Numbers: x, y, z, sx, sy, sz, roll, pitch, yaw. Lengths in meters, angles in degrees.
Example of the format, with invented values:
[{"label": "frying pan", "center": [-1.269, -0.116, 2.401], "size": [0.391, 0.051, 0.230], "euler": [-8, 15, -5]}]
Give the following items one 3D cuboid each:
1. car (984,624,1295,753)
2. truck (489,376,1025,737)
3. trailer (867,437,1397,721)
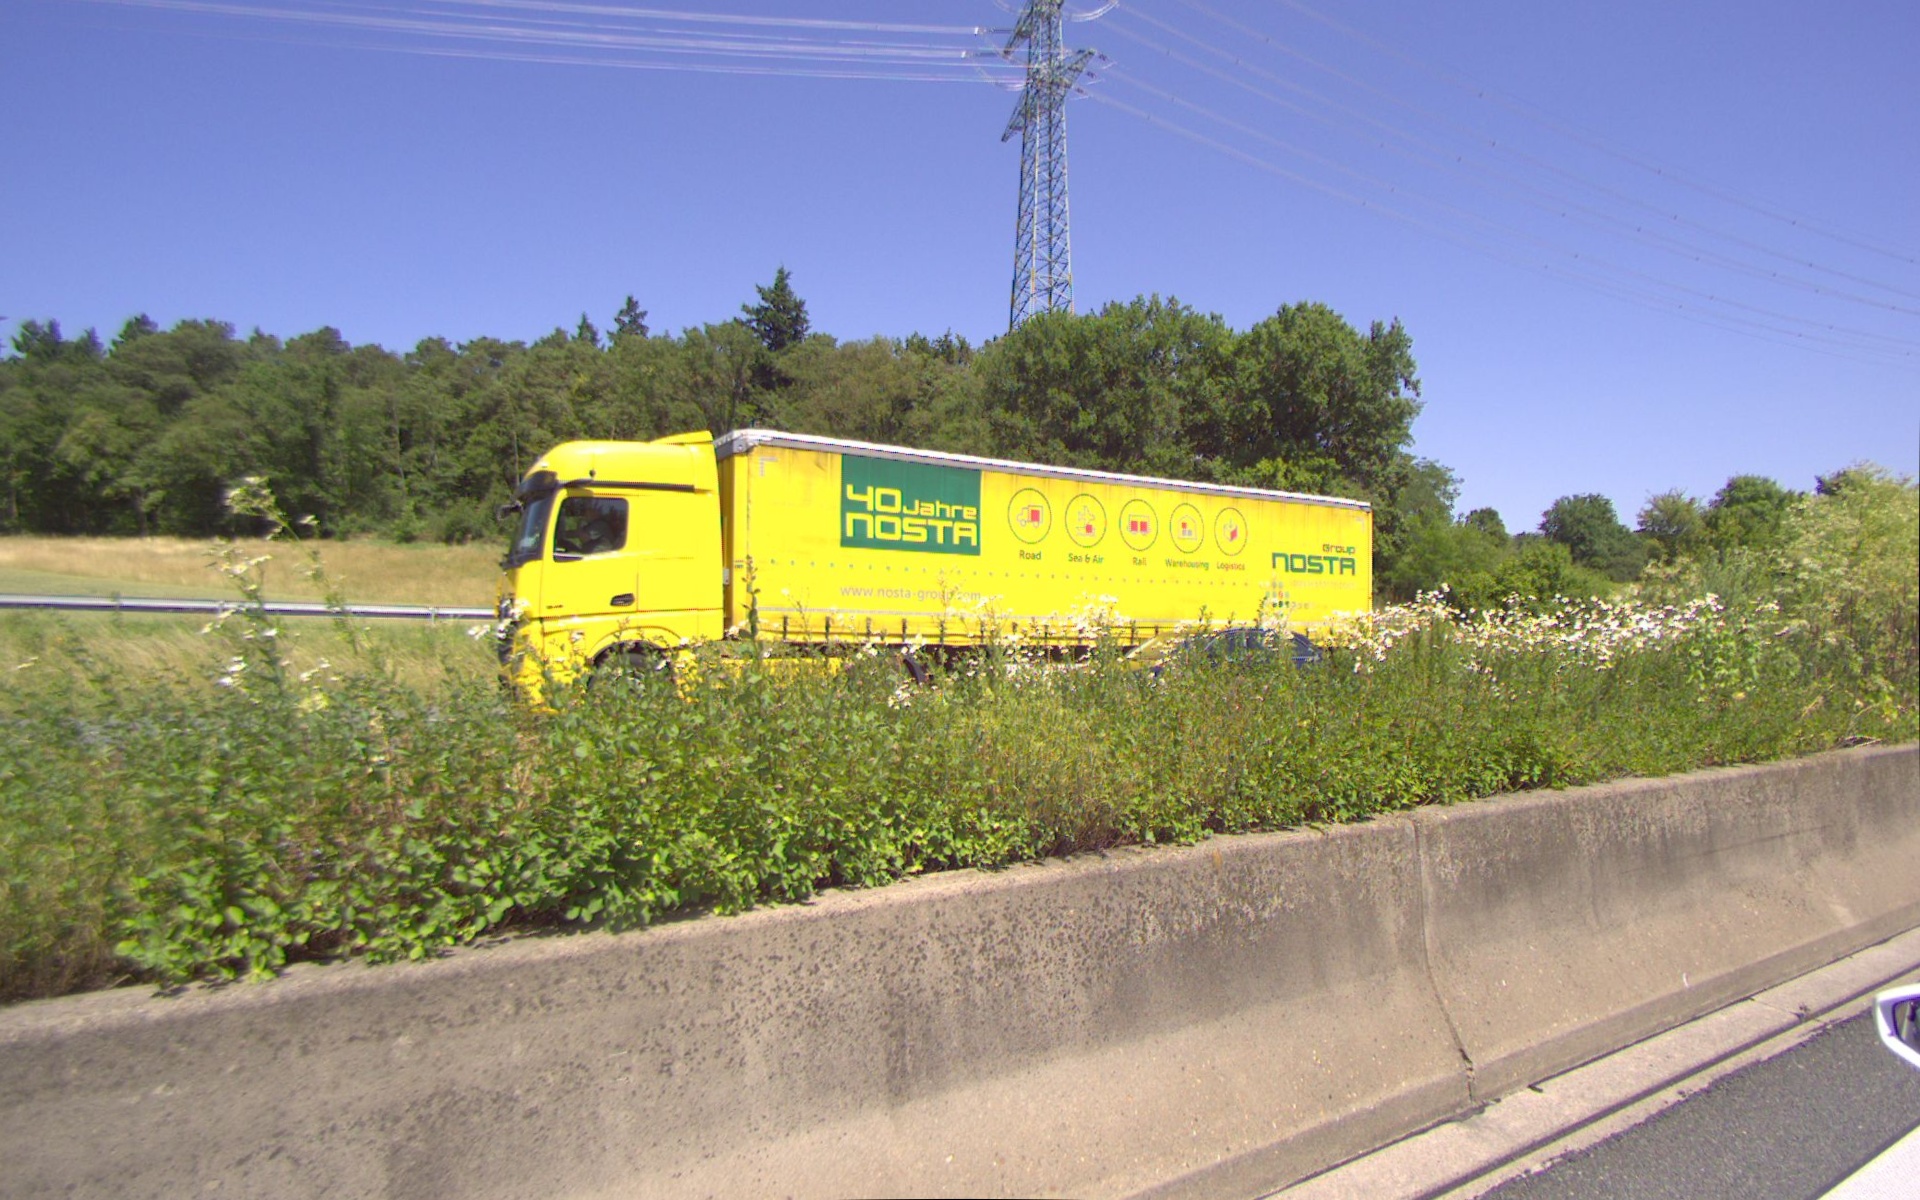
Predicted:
[{"label": "car", "center": [2.537, 1.124, 13.982], "size": [4.053, 1.485, 1.859], "euler": [1, 0, -32]}, {"label": "truck", "center": [-2.856, -0.422, 15.014], "size": [7.242, 4.293, 2.764], "euler": [2, 0, -31]}, {"label": "trailer", "center": [3.664, -0.158, 19.034], "size": [10.566, 4.262, 2.806], "euler": [2, 0, -32]}]
